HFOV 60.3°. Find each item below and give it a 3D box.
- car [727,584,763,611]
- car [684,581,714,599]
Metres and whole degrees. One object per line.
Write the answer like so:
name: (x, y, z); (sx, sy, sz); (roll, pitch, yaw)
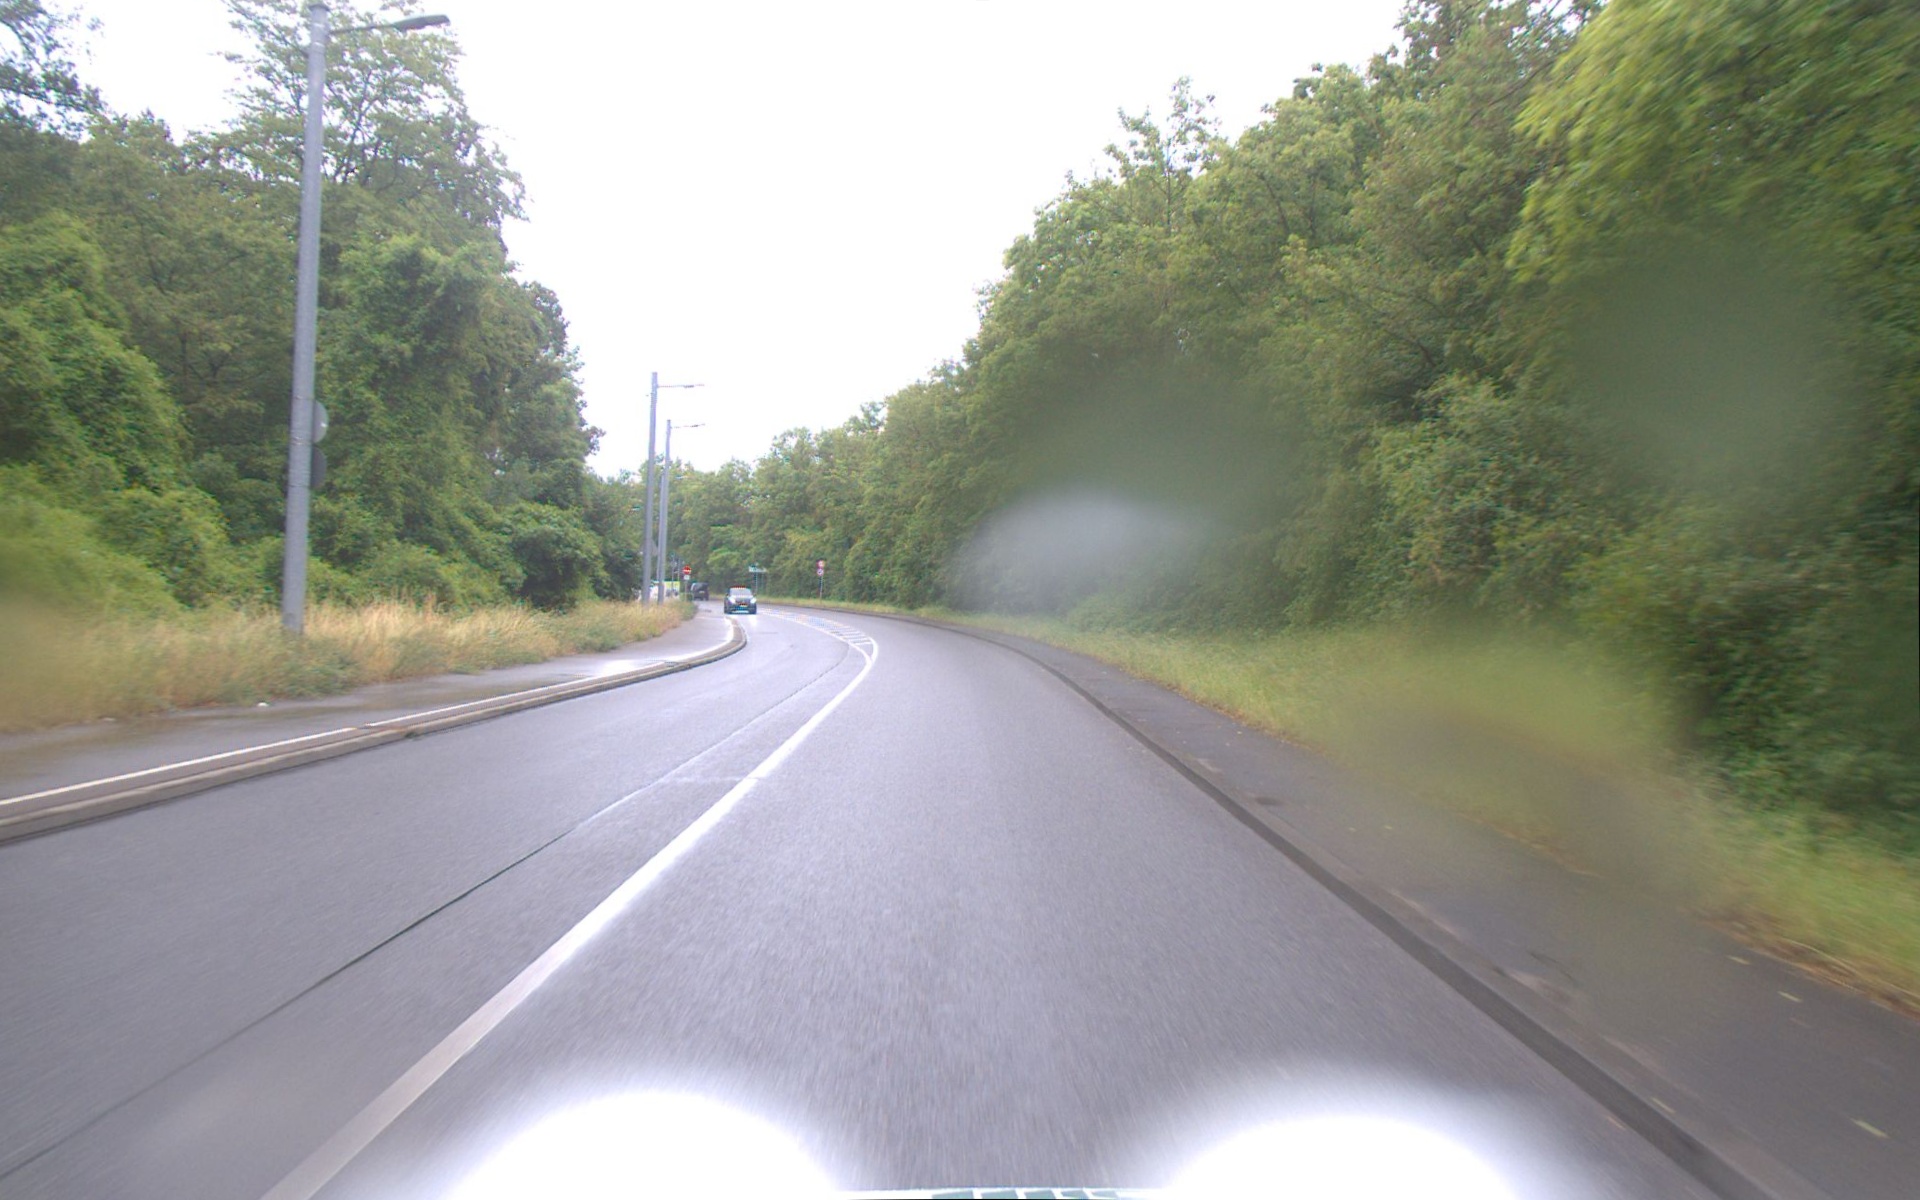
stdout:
car: (-14.930, -0.164, 114.838); (1.960, 1.818, 4.690); (0, 0, -14)
car: (-27.318, -1.068, 173.099); (1.847, 1.623, 3.963); (2, 1, -29)
